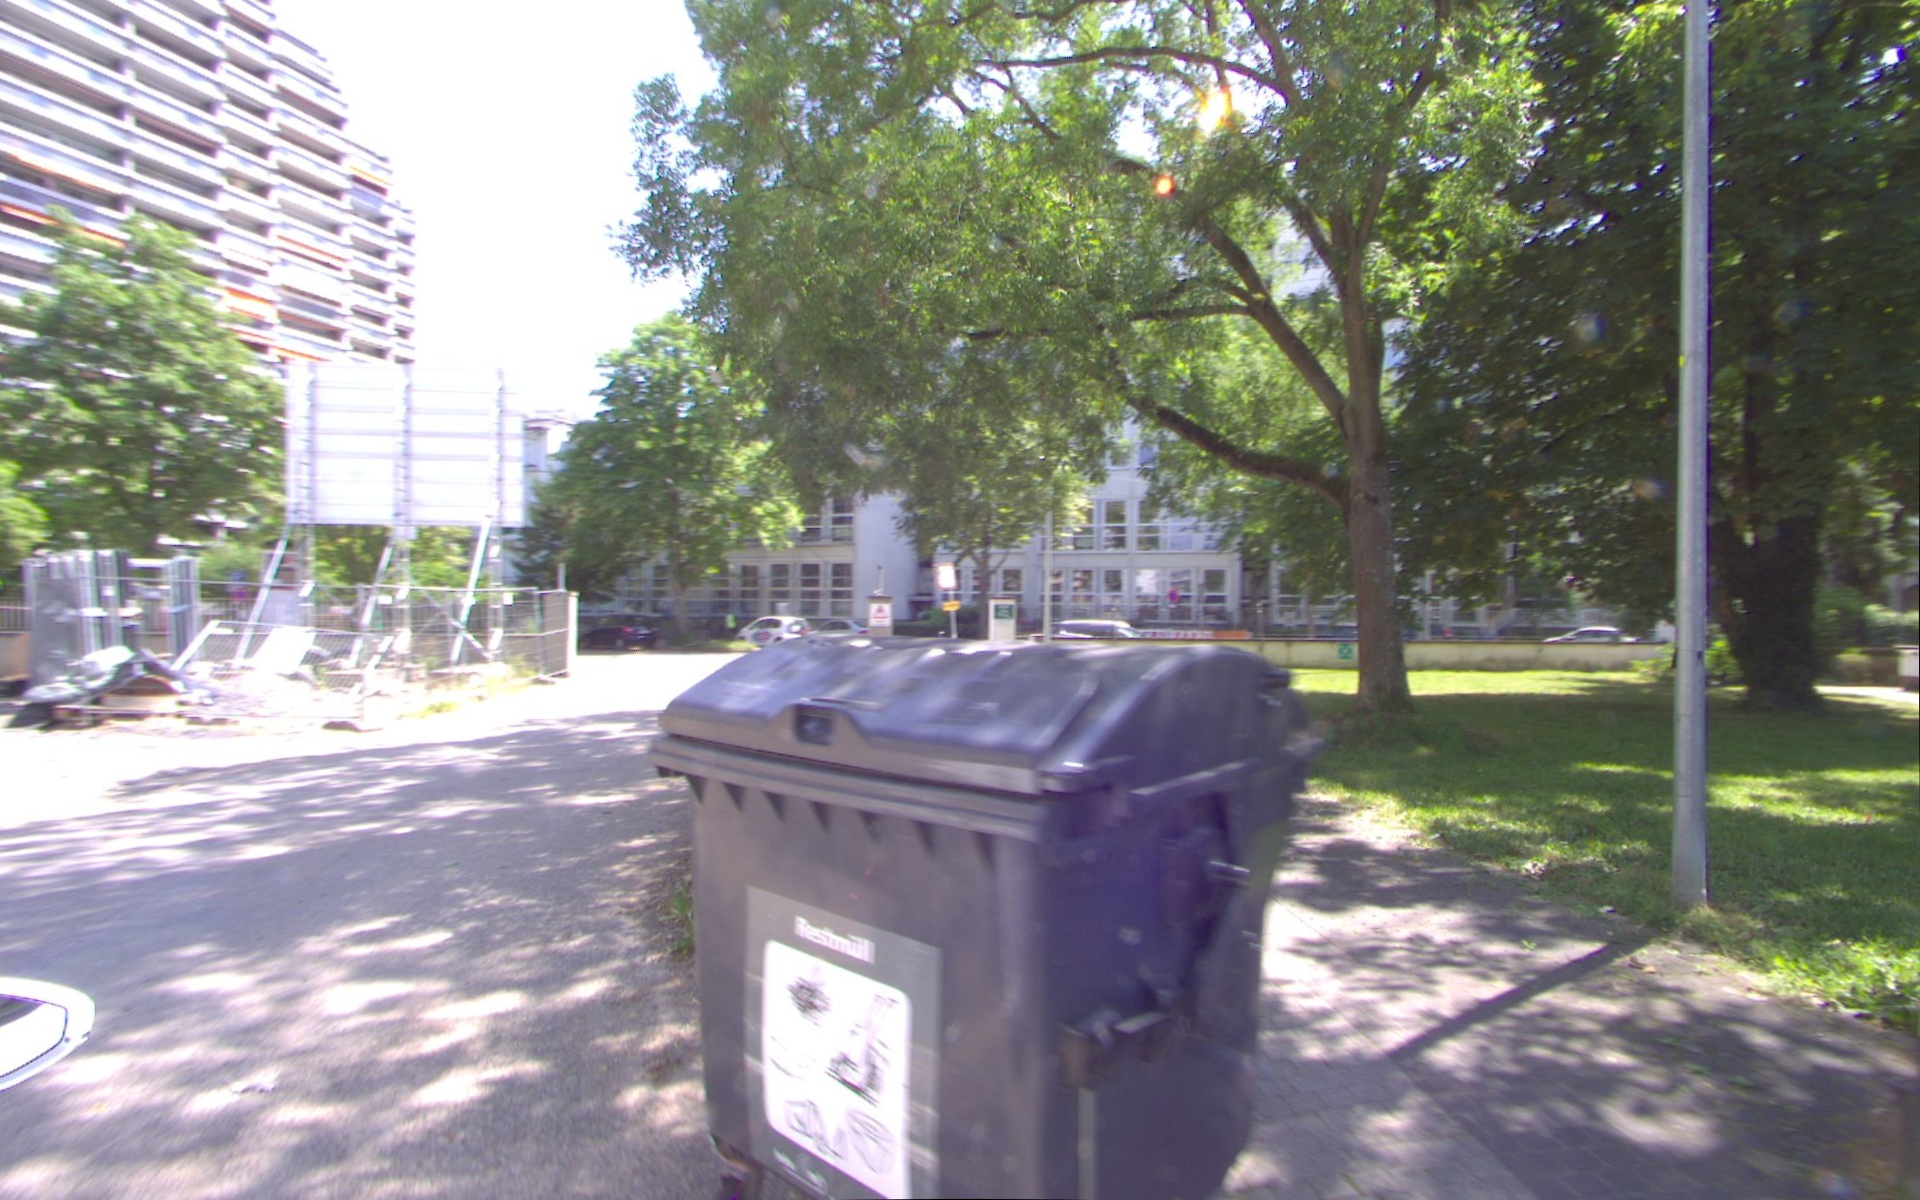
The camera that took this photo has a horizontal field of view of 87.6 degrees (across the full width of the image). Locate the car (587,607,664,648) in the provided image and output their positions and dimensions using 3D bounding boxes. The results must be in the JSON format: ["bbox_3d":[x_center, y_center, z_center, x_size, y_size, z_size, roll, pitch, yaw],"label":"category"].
[{"bbox_3d":[-14.337,1.156,42.823,1.994,1.651,3.900,0,-1,-37],"label":"car"}]

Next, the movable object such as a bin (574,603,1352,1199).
[{"bbox_3d":[0.094,0.752,2.135,1.354,1.477,1.076,0,0,23],"label":"movable object such as a bin"}]

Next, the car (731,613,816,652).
[{"bbox_3d":[-8.155,1.378,43.647,3.645,1.610,1.658,0,-1,38],"label":"car"}]

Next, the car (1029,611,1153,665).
[{"bbox_3d":[3.721,1.085,28.716,3.268,1.498,1.433,0,0,-7],"label":"car"}]

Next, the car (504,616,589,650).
[{"bbox_3d":[-17.392,1.363,42.072,3.889,1.327,1.903,-1,-1,44],"label":"car"}]

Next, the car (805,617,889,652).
[{"bbox_3d":[-4.963,1.477,43.724,3.669,1.434,1.656,0,-1,41],"label":"car"}]
